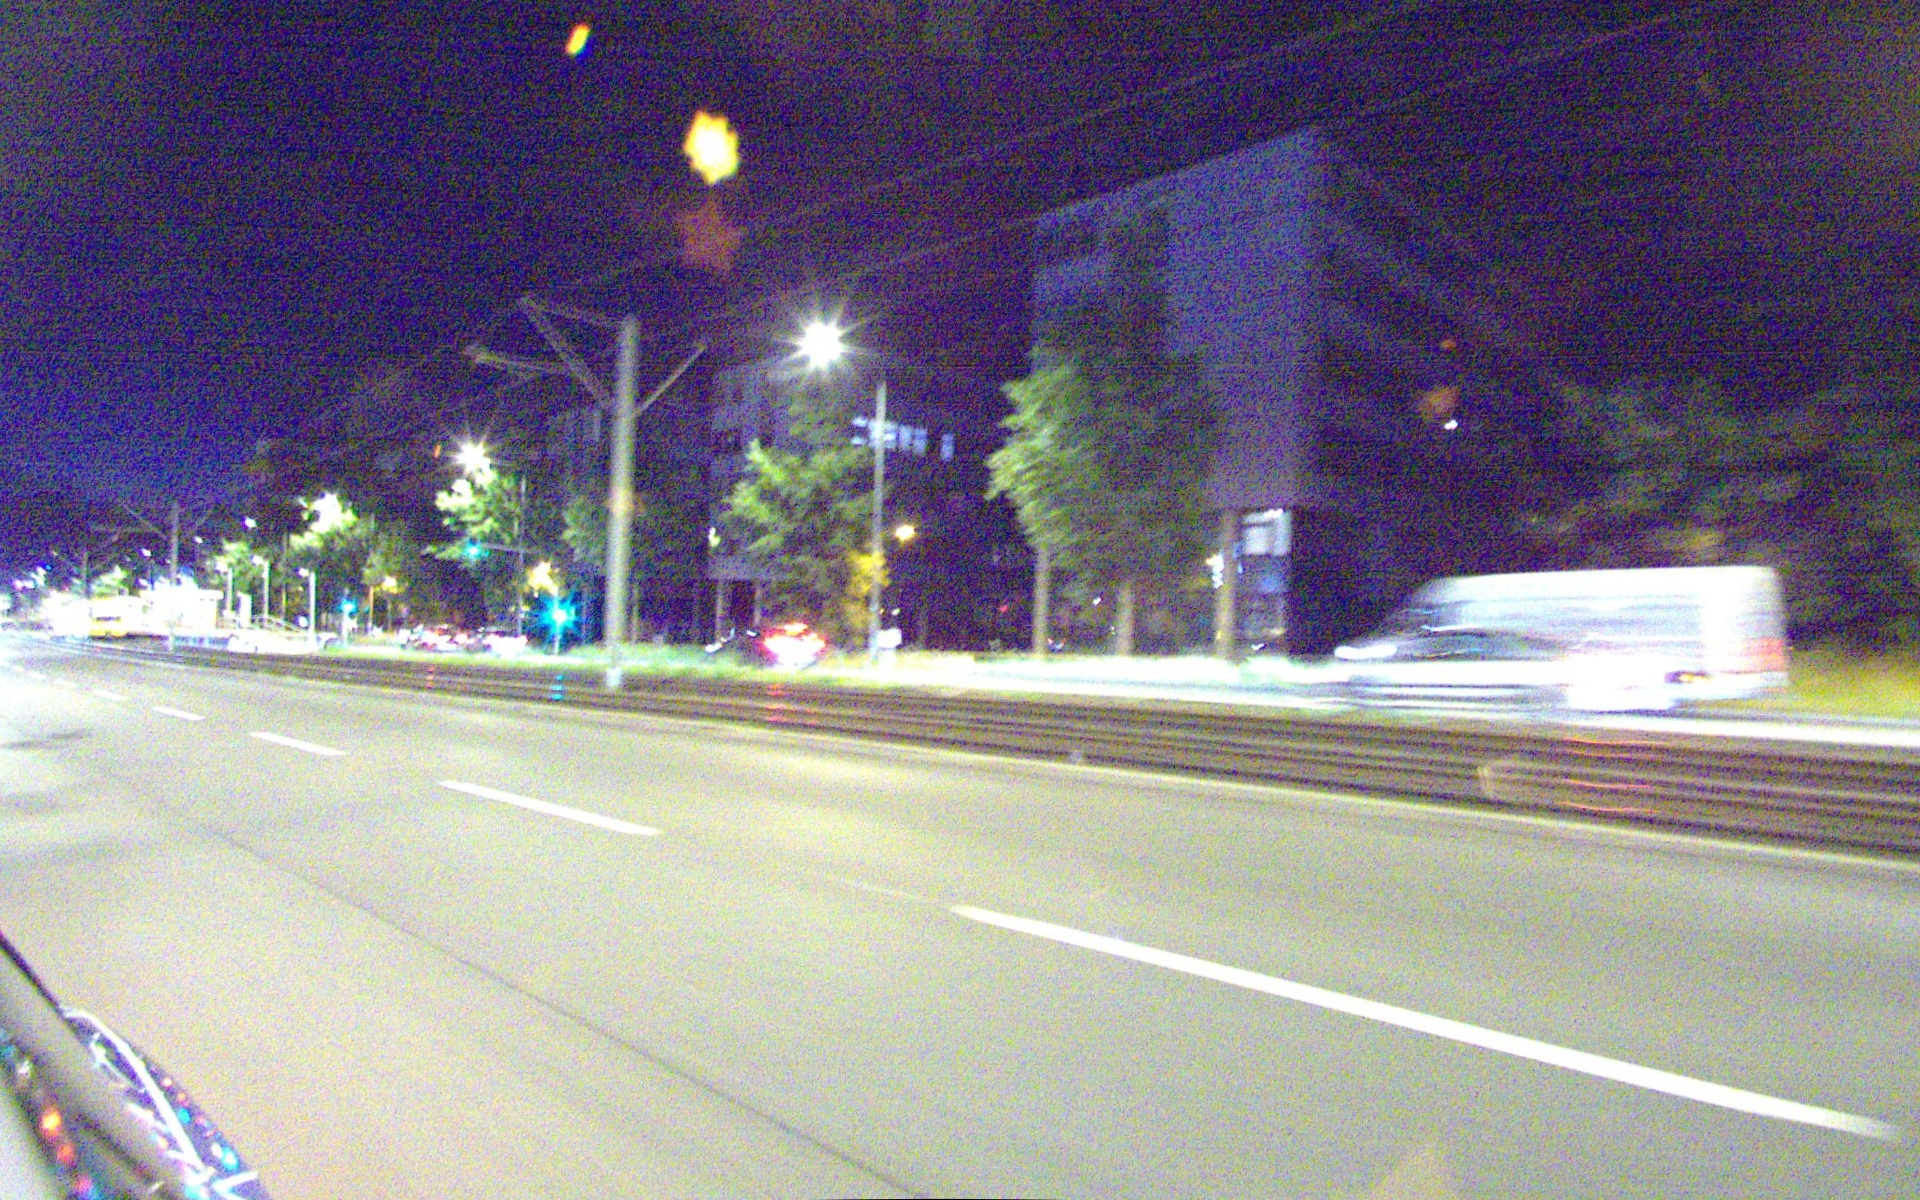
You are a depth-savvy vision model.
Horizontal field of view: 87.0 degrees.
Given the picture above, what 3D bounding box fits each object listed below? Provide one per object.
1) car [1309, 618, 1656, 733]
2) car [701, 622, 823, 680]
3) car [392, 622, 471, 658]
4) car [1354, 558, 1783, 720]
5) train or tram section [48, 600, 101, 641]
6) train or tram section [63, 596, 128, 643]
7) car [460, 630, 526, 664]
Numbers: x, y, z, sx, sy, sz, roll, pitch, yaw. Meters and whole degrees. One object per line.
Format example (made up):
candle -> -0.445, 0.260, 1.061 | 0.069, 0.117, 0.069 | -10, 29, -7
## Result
car -> 7.616, 1.029, 15.031 | 4.337, 1.451, 1.603 | -1, -3, 42
car -> -6.515, 1.595, 33.012 | 4.227, 1.726, 1.760 | -1, -1, 43
car -> -24.520, 1.820, 46.926 | 4.171, 1.508, 1.767 | 1, 0, 40
car -> 11.642, 0.723, 19.915 | 6.963, 2.691, 2.122 | 0, -4, 43
train or tram section -> -90.859, 2.066, 103.668 | 19.371, 3.875, 2.707 | -1, -2, 45
train or tram section -> -77.304, 1.782, 90.308 | 18.676, 3.856, 2.727 | -1, -2, 44
car -> -22.905, 2.280, 49.569 | 3.912, 1.528, 1.641 | -1, -1, 45
